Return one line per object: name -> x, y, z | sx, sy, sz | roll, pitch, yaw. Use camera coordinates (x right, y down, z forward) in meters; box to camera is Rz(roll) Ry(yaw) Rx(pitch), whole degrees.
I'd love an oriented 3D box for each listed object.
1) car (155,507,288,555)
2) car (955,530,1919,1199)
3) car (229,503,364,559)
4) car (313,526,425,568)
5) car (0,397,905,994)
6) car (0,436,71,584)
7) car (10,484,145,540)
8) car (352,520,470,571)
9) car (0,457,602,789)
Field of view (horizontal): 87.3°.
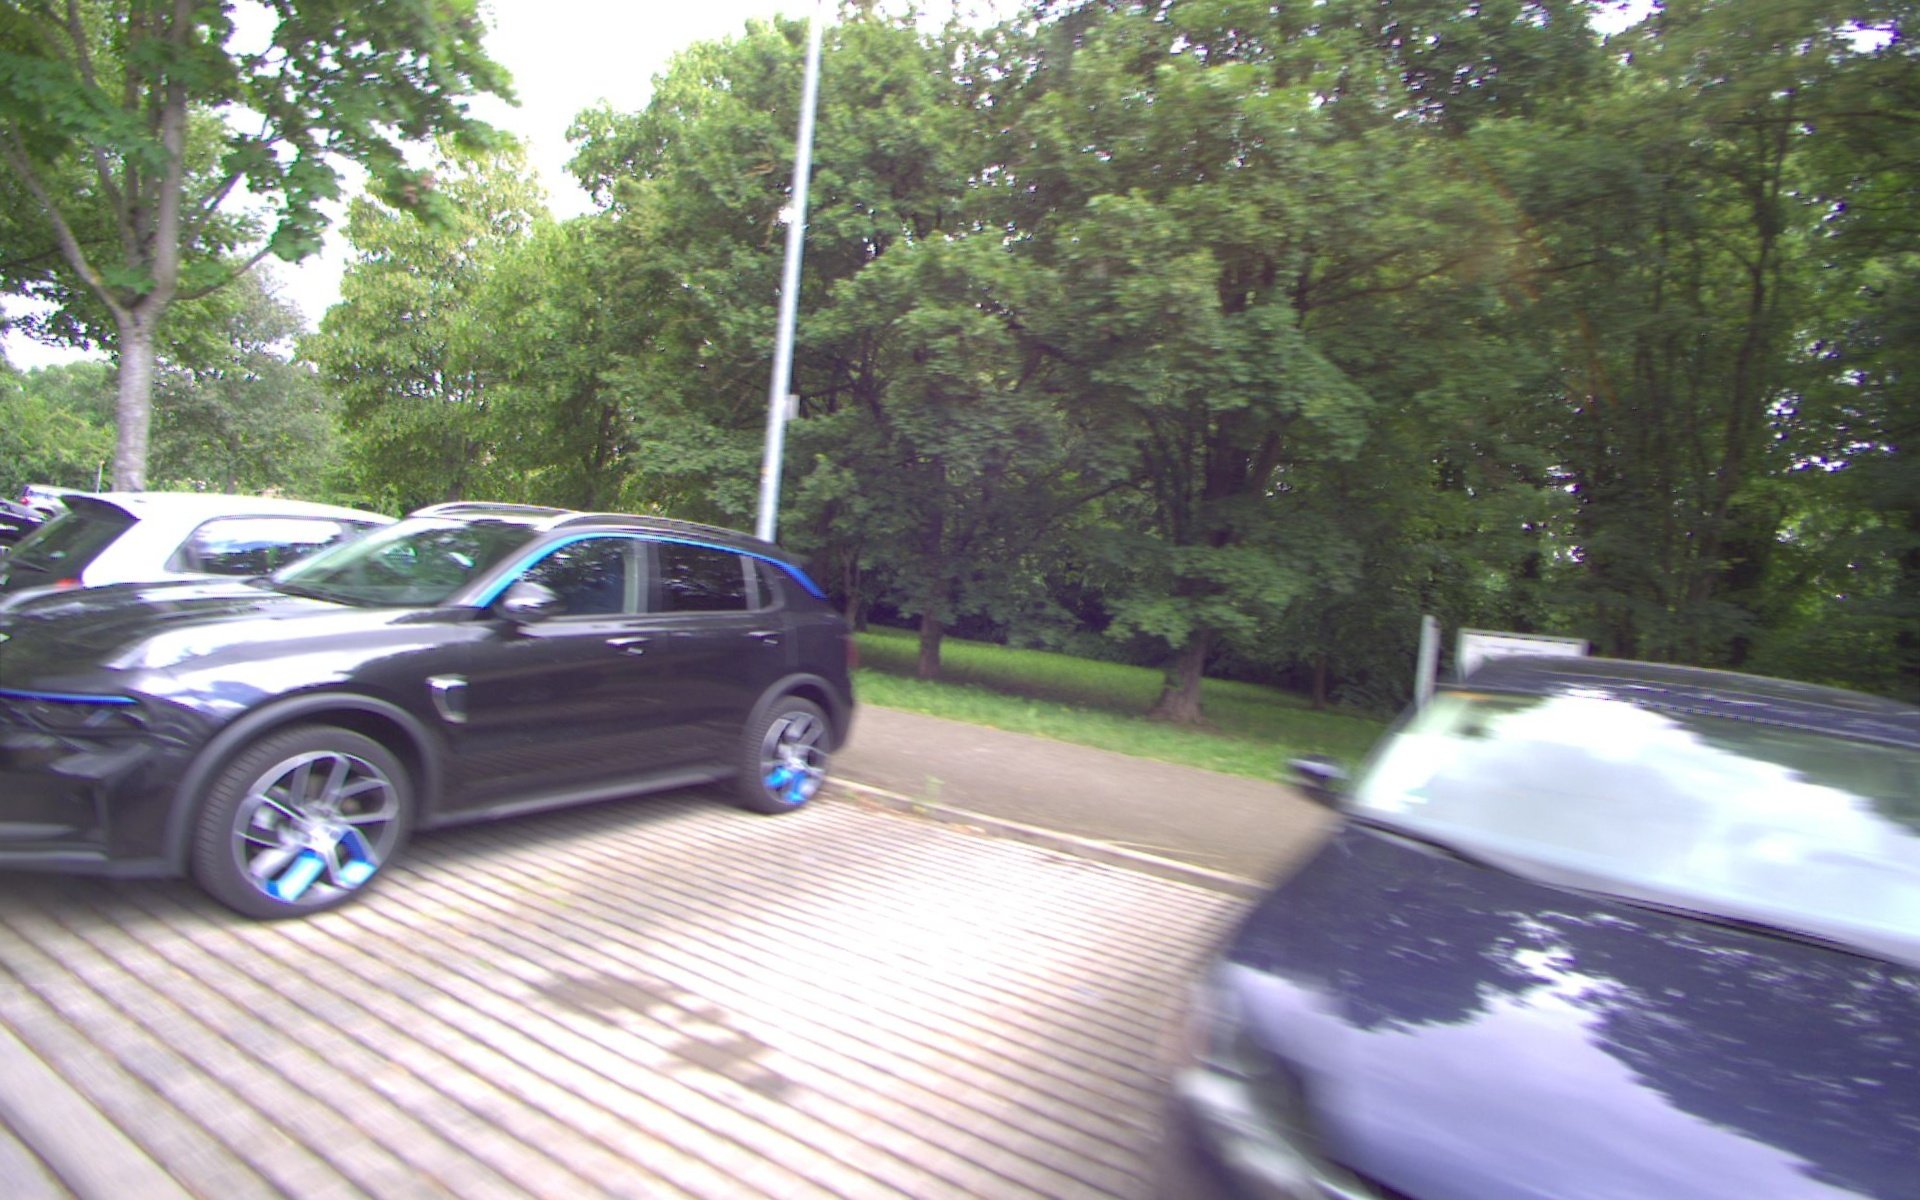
car -> -32.682, -3.028, 44.611 | 1.677, 1.445, 4.392 | 6, -1, 37
car -> 2.068, 0.867, 2.936 | 1.950, 1.537, 4.637 | 7, 2, 33
car -> -34.177, -3.513, 51.977 | 2.105, 2.082, 5.318 | 7, 0, 37
car -> -29.246, -2.607, 49.890 | 1.678, 1.445, 4.426 | 6, -1, 38
car -> -2.437, 0.262, 5.240 | 2.047, 1.698, 4.418 | 7, 2, 31
car -> -15.314, -1.439, 13.259 | 2.130, 2.040, 4.954 | 7, 2, 32
car -> -35.701, -3.558, 40.763 | 1.741, 1.689, 3.776 | 7, 0, 38
car -> -30.933, -3.041, 56.812 | 2.105, 2.082, 5.318 | 7, 0, 37
car -> -4.435, 0.098, 6.750 | 1.766, 1.595, 3.381 | 7, 2, 31
